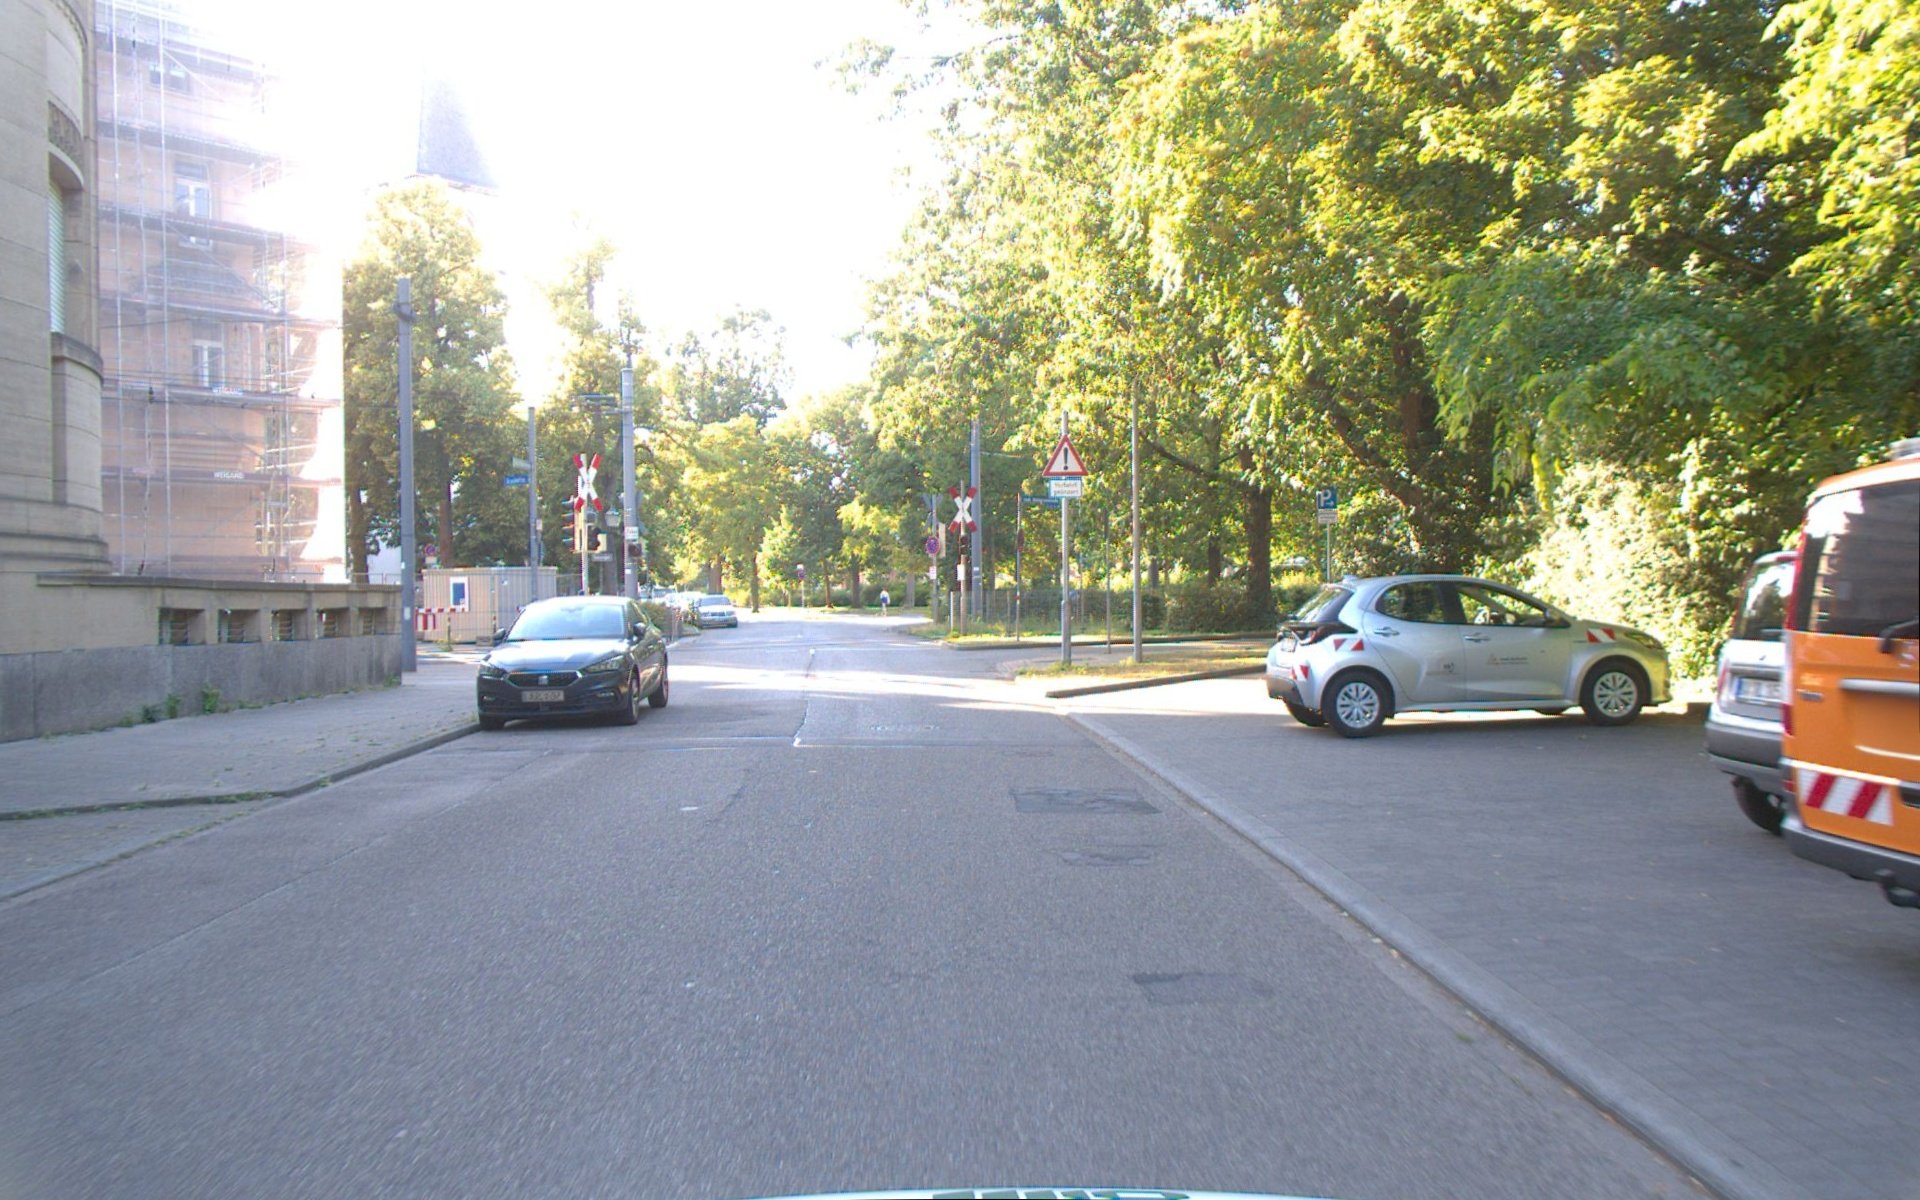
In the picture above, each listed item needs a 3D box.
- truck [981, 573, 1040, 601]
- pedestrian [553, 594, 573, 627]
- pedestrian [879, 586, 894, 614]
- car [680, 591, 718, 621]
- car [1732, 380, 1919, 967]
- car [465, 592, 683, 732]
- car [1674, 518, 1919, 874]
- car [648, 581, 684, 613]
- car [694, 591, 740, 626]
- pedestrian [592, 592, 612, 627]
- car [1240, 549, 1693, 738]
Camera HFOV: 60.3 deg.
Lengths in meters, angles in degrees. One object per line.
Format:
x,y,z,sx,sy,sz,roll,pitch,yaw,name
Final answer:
5.716,-1.451,188.859,2.583,3.082,7.908,-1,0,-35,truck
-15.088,0.396,62.890,0.539,1.254,0.725,-1,0,2,pedestrian
-4.216,-0.012,94.798,0.758,1.602,0.767,-1,0,-6,pedestrian
-13.667,0.318,86.536,1.585,1.465,3.592,-2,1,-14,car
5.644,0.142,5.992,4.702,2.032,2.079,-3,0,-5,car
-4.529,0.664,20.004,1.708,1.473,4.207,-1,0,-1,car
5.808,0.372,8.697,3.328,1.660,1.679,-3,0,-1,car
-18.883,-0.188,105.999,1.821,1.980,4.820,-1,0,-16,car
-10.792,0.348,73.206,1.748,1.440,4.485,-3,1,-11,car
-13.671,0.347,63.139,0.539,1.320,0.766,-1,0,2,pedestrian
4.937,0.402,16.452,3.908,1.573,1.734,-3,0,-3,car
